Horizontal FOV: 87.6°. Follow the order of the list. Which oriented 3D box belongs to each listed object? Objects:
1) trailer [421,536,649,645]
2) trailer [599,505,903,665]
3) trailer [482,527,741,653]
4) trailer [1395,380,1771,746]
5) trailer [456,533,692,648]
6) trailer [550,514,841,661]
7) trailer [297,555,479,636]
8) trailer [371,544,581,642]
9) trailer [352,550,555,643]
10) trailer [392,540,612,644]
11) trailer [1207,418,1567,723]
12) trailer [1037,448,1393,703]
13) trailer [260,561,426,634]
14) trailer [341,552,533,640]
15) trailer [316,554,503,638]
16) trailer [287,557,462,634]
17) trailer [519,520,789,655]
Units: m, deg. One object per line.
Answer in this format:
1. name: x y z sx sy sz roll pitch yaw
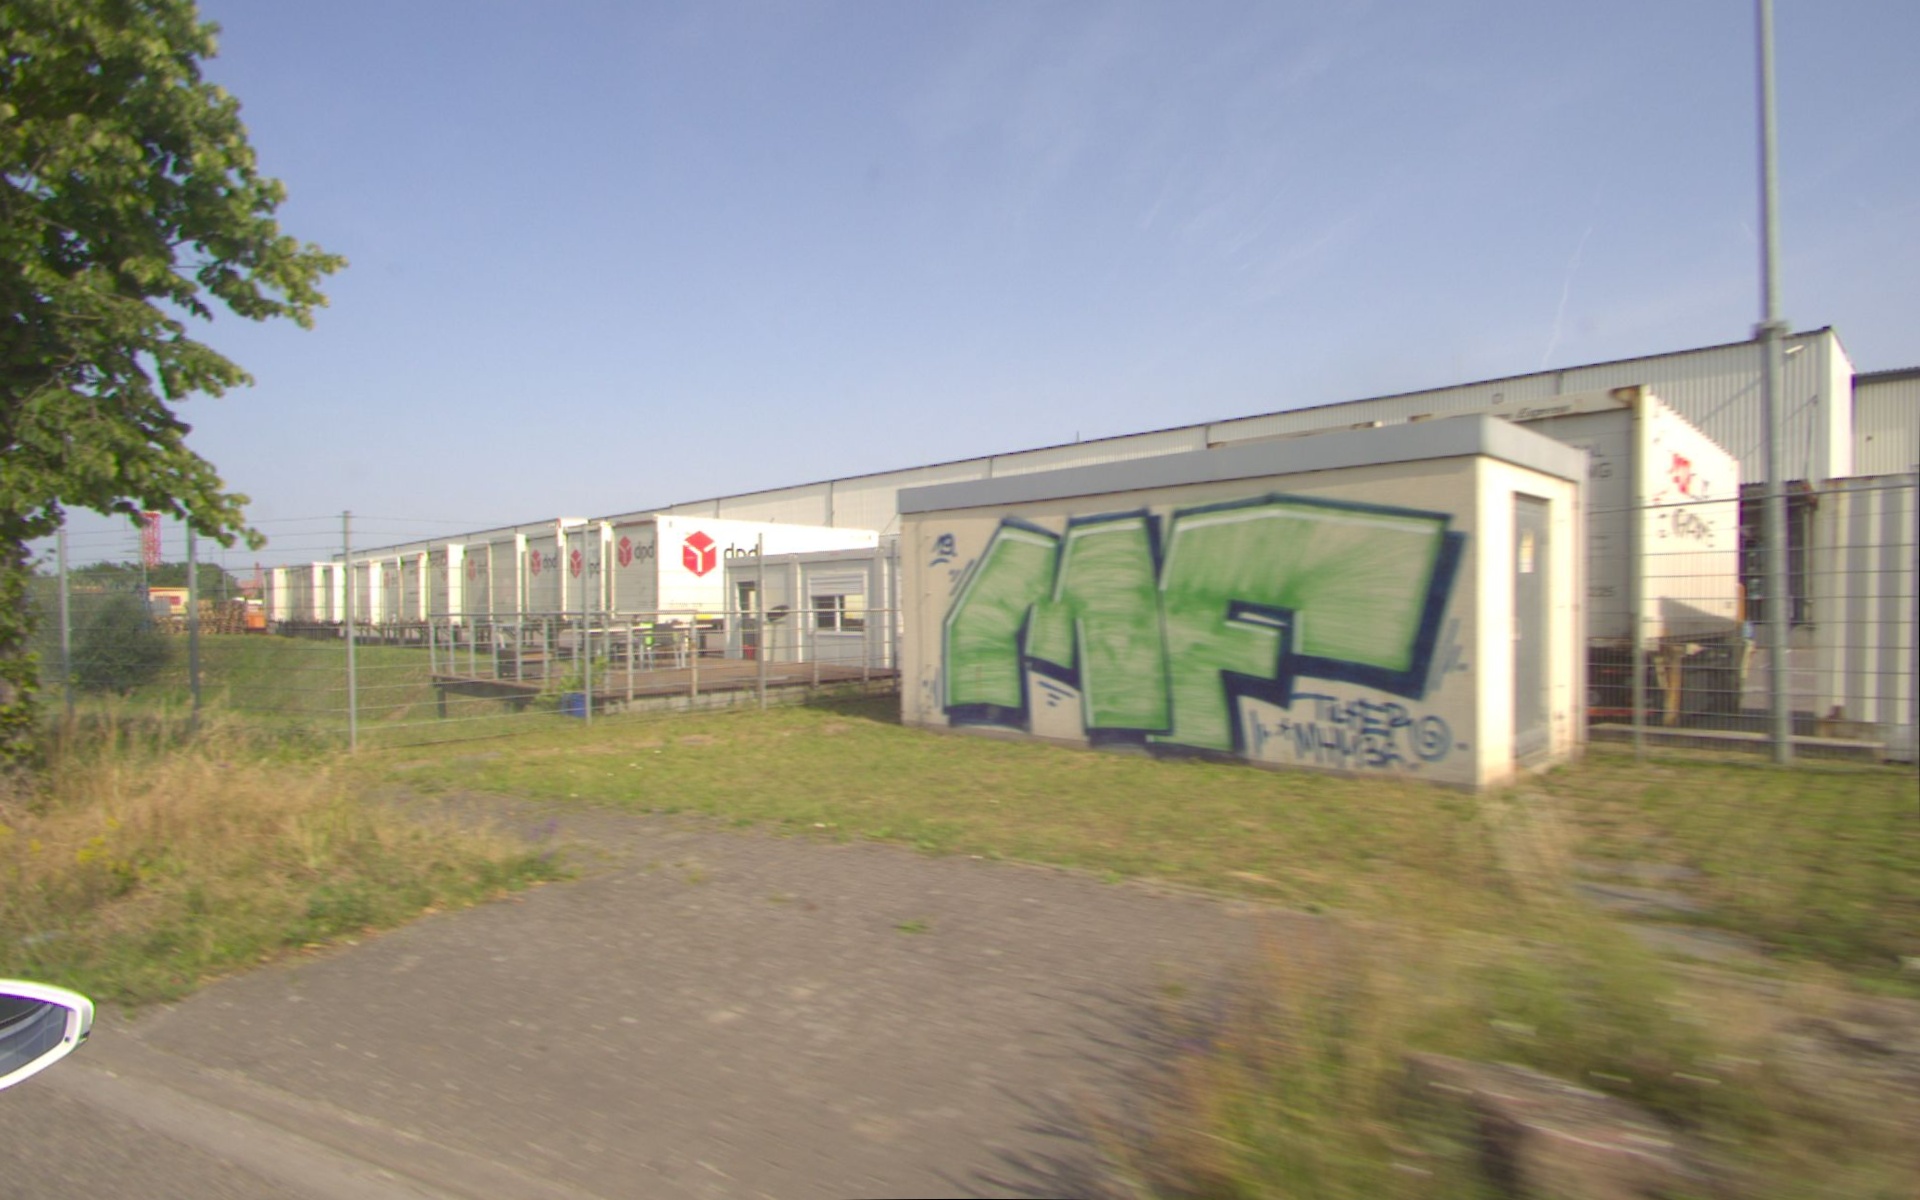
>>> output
1. trailer: -16.862 -0.226 40.260 2.745 3.944 7.922 1 -1 43
2. trailer: -5.675 -0.222 28.808 2.745 3.944 8.493 1 -1 43
3. trailer: -12.039 -0.165 35.365 2.745 3.944 8.265 1 -1 43
4. trailer: 9.542 -0.315 14.742 8.482 3.943 2.749 0 -2 -45
5. trailer: -14.576 -0.205 38.387 2.745 3.944 7.993 1 -1 43
6. trailer: -7.882 -0.191 31.038 2.745 3.944 8.493 1 -1 43
7. trailer: -30.380 -0.122 53.526 2.745 3.944 7.922 1 -1 43
8. trailer: -21.313 -0.181 44.525 2.745 3.944 7.922 1 -1 43
9. trailer: -23.423 -0.031 46.671 2.745 3.944 7.922 1 -1 43
10. trailer: -19.095 -0.196 42.244 2.745 3.944 7.922 1 -1 43
11. trailer: 7.609 -0.405 16.966 2.747 3.946 8.483 0 1 44
12. trailer: 5.243 -0.287 19.064 2.761 3.810 8.684 0 -1 43
13. trailer: -36.663 -0.051 59.774 2.712 3.944 7.922 1 -1 43
14. trailer: -25.733 -0.071 49.624 2.745 3.944 7.922 1 -1 43
15. trailer: -28.192 -0.088 51.628 2.745 3.944 7.922 1 -1 43
16. trailer: -32.464 -0.145 55.785 2.745 3.944 7.922 1 -1 43
17. trailer: -9.865 -0.217 33.251 2.745 3.944 8.265 1 -1 43
